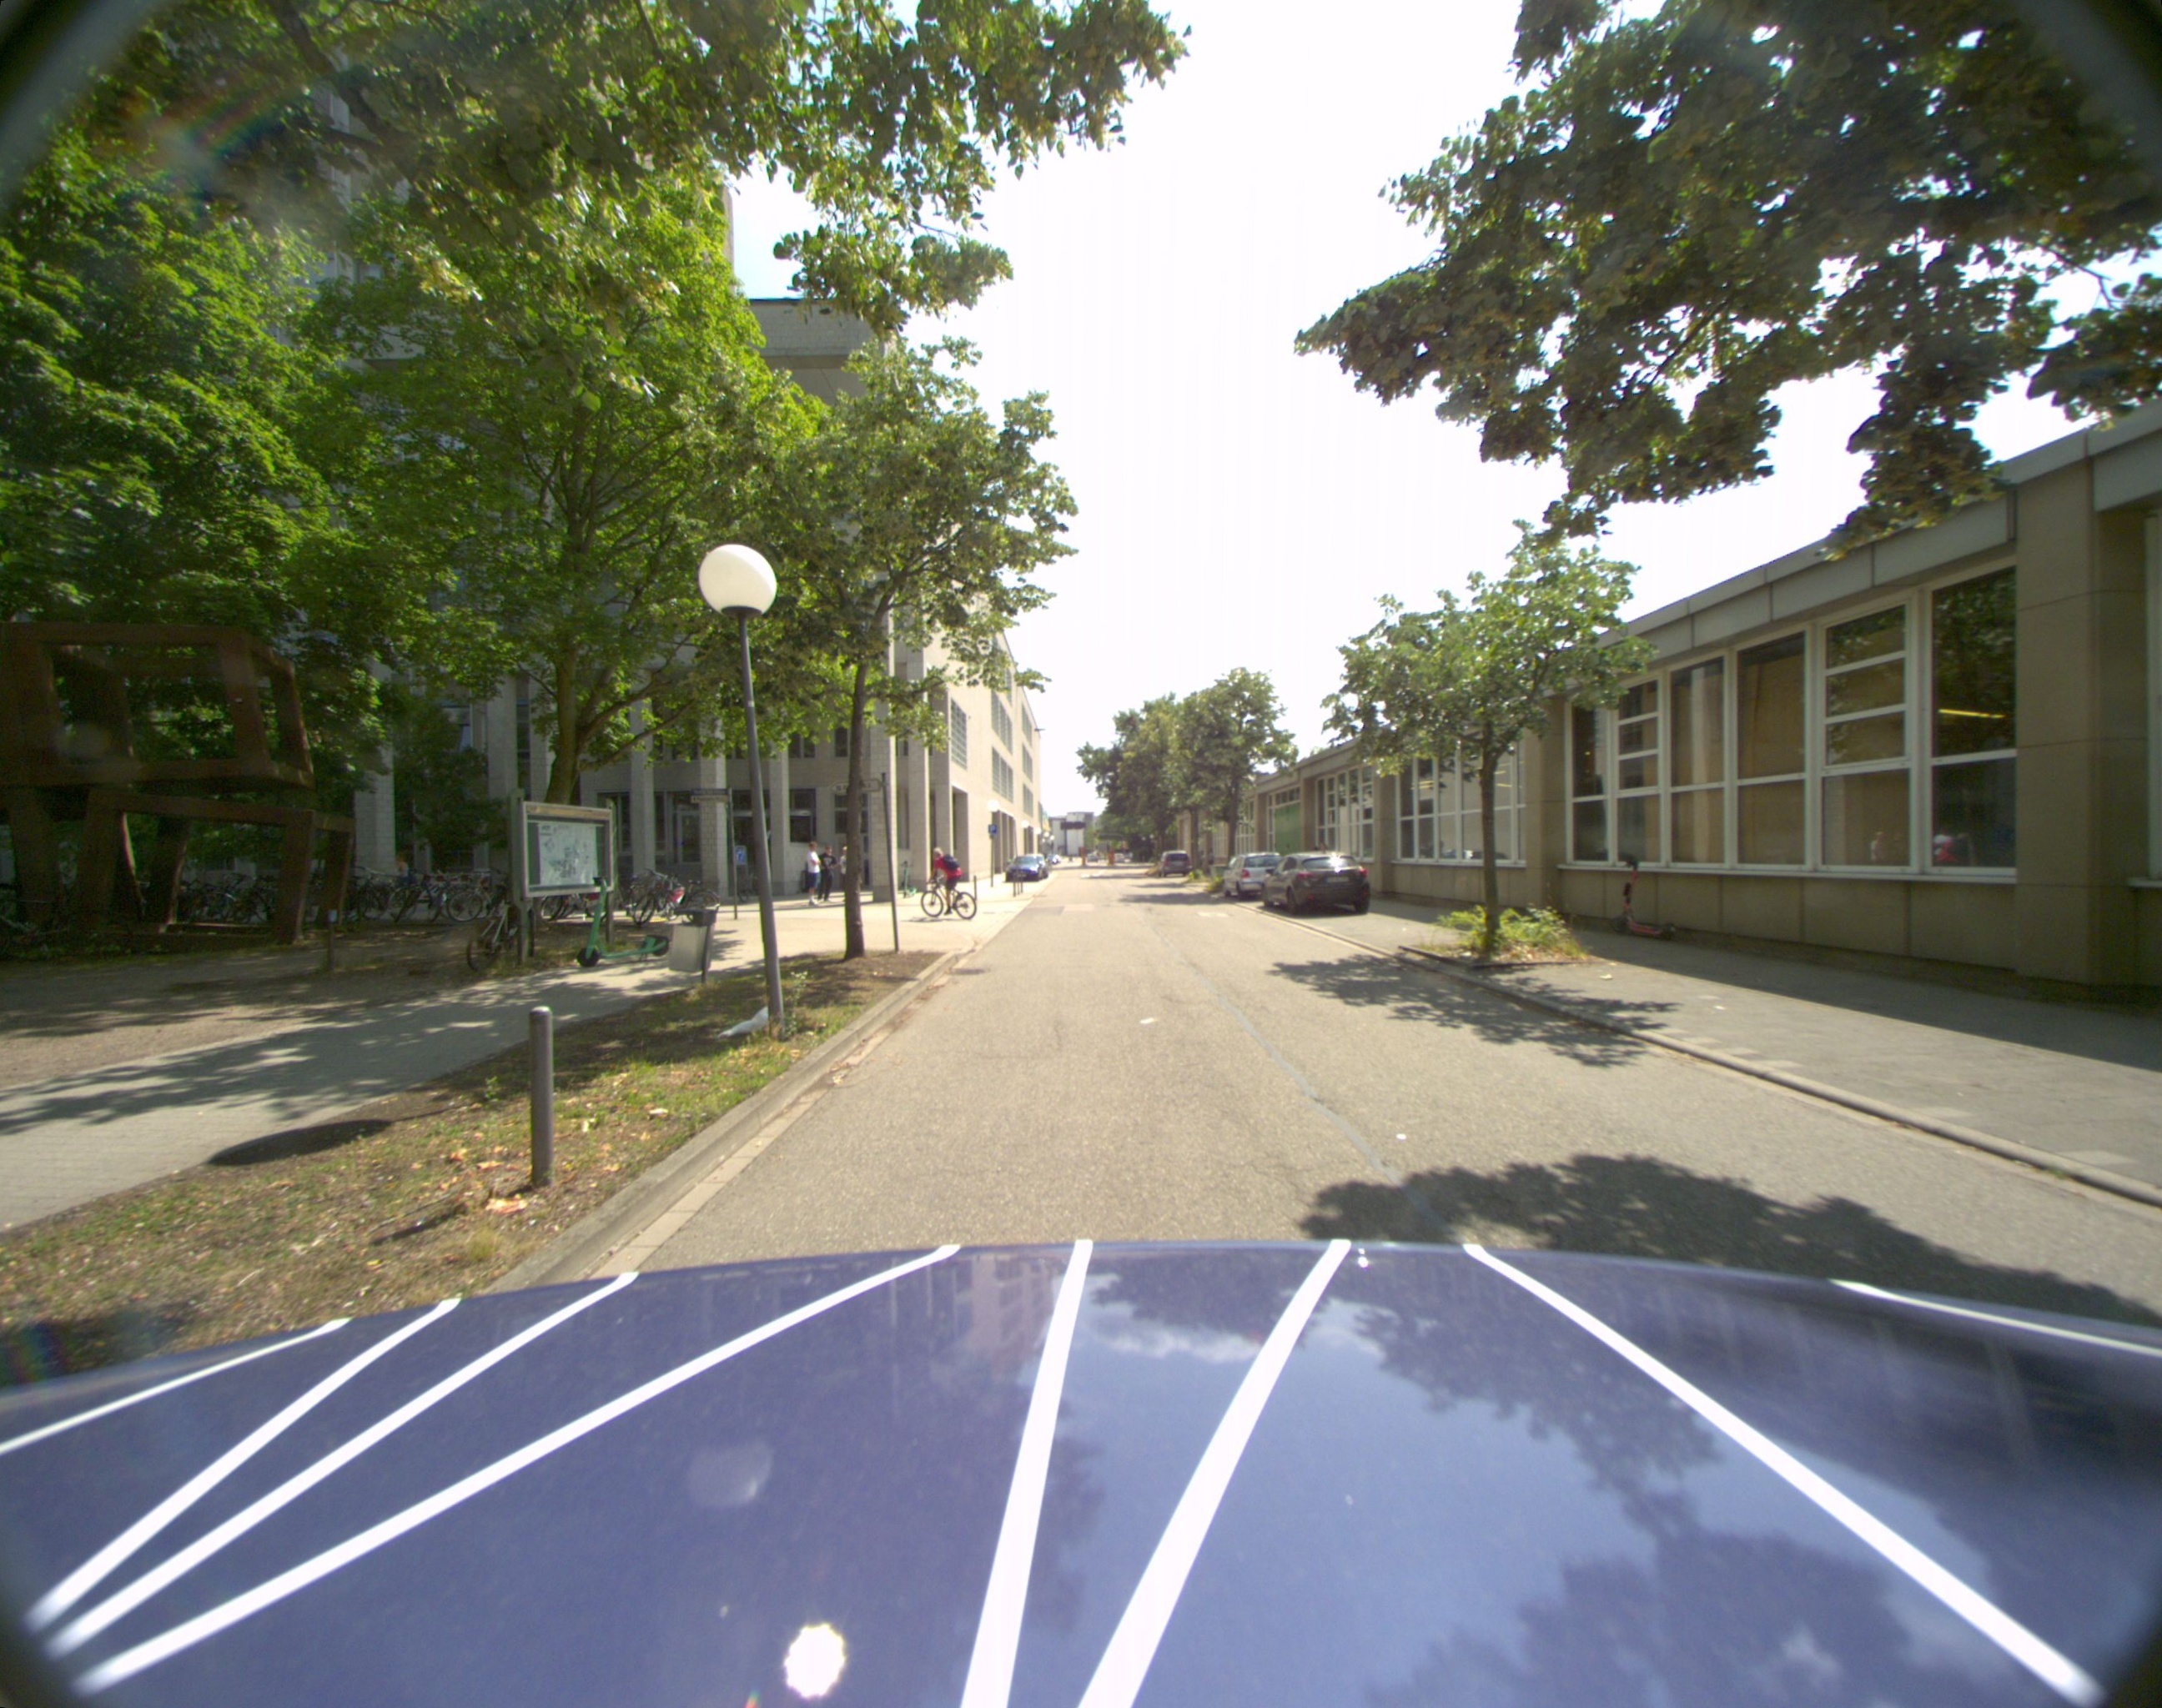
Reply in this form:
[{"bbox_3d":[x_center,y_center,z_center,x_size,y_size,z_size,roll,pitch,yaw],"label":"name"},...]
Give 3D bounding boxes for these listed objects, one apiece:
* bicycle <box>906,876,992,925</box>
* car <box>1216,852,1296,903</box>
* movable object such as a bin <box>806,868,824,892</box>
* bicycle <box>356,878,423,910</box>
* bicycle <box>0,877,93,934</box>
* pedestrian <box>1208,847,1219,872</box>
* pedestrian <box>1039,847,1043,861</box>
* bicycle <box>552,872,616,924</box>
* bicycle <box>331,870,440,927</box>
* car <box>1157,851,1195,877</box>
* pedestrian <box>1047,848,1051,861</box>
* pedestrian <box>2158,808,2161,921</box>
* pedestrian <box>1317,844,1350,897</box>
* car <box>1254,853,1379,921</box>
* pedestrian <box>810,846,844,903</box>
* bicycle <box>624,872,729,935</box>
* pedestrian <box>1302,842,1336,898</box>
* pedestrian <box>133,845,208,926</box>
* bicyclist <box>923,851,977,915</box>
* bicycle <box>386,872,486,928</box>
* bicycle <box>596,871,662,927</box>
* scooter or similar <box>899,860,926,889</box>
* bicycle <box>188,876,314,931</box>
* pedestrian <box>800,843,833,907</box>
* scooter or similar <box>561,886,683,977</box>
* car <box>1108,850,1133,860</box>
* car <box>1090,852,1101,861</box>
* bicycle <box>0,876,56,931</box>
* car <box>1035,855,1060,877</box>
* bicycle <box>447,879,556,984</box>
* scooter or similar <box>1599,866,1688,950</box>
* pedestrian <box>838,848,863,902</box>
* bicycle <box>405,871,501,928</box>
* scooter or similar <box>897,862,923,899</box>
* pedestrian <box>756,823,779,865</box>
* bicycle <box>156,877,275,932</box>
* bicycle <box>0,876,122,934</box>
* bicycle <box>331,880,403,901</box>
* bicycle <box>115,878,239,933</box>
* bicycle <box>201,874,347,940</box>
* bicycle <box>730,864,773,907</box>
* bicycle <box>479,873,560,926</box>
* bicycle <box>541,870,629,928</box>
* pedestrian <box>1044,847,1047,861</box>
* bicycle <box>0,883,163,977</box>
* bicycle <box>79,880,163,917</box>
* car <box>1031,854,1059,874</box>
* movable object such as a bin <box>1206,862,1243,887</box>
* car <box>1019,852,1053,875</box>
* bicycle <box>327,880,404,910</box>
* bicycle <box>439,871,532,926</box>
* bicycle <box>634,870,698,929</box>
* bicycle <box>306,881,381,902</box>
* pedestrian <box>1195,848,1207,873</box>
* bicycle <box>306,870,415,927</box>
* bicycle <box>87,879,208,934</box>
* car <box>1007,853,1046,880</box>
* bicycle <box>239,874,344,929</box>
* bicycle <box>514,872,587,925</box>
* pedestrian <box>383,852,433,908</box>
[{"bbox_3d":[-3.236,1.129,18.690,1.926,1.036,0.819,1,5,25],"label":"bicycle"},{"bbox_3d":[5.607,0.702,24.765,1.634,1.441,3.752,-3,0,0],"label":"car"},{"bbox_3d":[-10.991,1.076,31.421,0.513,0.944,0.512,2,0,-1],"label":"movable object such as a bin"},{"bbox_3d":[-22.084,1.264,24.306,0.337,0.894,1.777,-2,1,6],"label":"bicycle"},{"bbox_3d":[-22.157,1.075,16.040,0.454,1.123,1.688,-3,0,-4],"label":"bicycle"},{"bbox_3d":[8.470,0.376,48.616,0.605,1.571,0.551,1,0,-2],"label":"pedestrian"},{"bbox_3d":[-4.983,-0.001,94.037,0.441,1.620,0.570,2,0,1],"label":"pedestrian"},{"bbox_3d":[-10.817,0.933,16.590,0.460,1.079,1.440,1,-1,-2],"label":"bicycle"},{"bbox_3d":[-14.579,0.911,15.992,0.627,1.118,1.697,1,-1,6],"label":"bicycle"},{"bbox_3d":[5.796,0.576,46.885,1.803,1.441,3.676,-3,0,0],"label":"car"},{"bbox_3d":[-3.956,0.024,94.005,0.383,1.620,0.519,2,0,1],"label":"pedestrian"},{"bbox_3d":[8.108,0.543,5.068,0.670,1.776,0.790,-2,0,0],"label":"pedestrian"},{"bbox_3d":[7.535,0.489,22.674,0.796,1.533,0.664,-1,1,5],"label":"pedestrian"},{"bbox_3d":[5.742,0.757,19.097,1.729,1.427,4.289,-3,0,0],"label":"car"},{"bbox_3d":[-8.124,0.639,24.284,0.811,1.787,0.618,-2,2,-43],"label":"pedestrian"},{"bbox_3d":[-8.074,0.959,15.252,0.604,1.135,1.790,2,1,33],"label":"bicycle"},{"bbox_3d":[7.413,0.489,23.640,0.798,1.718,0.600,-1,1,-17],"label":"pedestrian"},{"bbox_3d":[-19.732,0.673,16.485,0.428,1.693,0.944,-2,0,-4],"label":"pedestrian"},{"bbox_3d":[-3.211,0.705,18.693,0.957,1.534,0.840,1,-1,26],"label":"bicyclist"},{"bbox_3d":[-13.739,0.944,16.247,0.565,1.118,1.697,1,-1,6],"label":"bicycle"},{"bbox_3d":[-9.641,0.934,16.262,0.561,1.134,1.490,1,-1,-2],"label":"bicycle"},{"bbox_3d":[-7.538,0.900,33.970,0.566,1.205,1.506,-3,3,-40],"label":"scooter or similar"},{"bbox_3d":[-17.442,1.014,16.032,0.617,1.041,1.697,-3,-1,8],"label":"bicycle"},{"bbox_3d":[-8.040,0.628,23.128,0.687,1.880,0.686,-2,2,-2],"label":"pedestrian"},{"bbox_3d":[-6.145,1.003,10.241,0.496,1.107,1.365,0,-1,25],"label":"scooter or similar"},{"bbox_3d":[6.111,0.155,116.827,3.674,1.441,1.804,-3,1,-1],"label":"car"},{"bbox_3d":[2.590,0.510,136.407,1.803,1.441,3.676,-3,0,0],"label":"car"},{"bbox_3d":[-22.727,1.053,15.851,0.454,1.123,1.688,-3,0,-4],"label":"bicycle"},{"bbox_3d":[-2.743,0.993,62.854,1.799,1.691,4.000,2,0,1],"label":"car"},{"bbox_3d":[-7.315,0.927,9.670,0.629,1.078,1.684,-3,4,-22],"label":"bicycle"},{"bbox_3d":[8.595,0.792,11.659,0.383,1.200,1.246,-3,0,-1],"label":"scooter or similar"},{"bbox_3d":[-7.379,0.671,24.350,0.613,1.719,0.542,-1,1,2],"label":"pedestrian"},{"bbox_3d":[-13.235,0.934,16.084,0.481,1.118,1.697,1,-1,6],"label":"bicycle"},{"bbox_3d":[-5.890,0.903,26.216,0.564,1.205,1.510,2,1,-1],"label":"scooter or similar"},{"bbox_3d":[-13.184,-0.424,31.938,0.690,1.724,0.685,-1,1,-7],"label":"pedestrian"},{"bbox_3d":[-18.179,1.026,16.022,0.617,1.041,1.688,-3,-1,-4],"label":"bicycle"},{"bbox_3d":[-21.574,1.044,16.089,0.454,1.123,1.688,-3,0,-4],"label":"bicycle"},{"bbox_3d":[-27.414,1.392,29.206,1.990,0.755,0.643,0,-1,-9],"label":"bicycle"},{"bbox_3d":[-18.897,1.050,15.945,0.617,1.041,1.688,-3,-1,-4],"label":"bicycle"},{"bbox_3d":[-14.260,0.899,13.506,0.463,1.071,1.829,1,-1,8],"label":"bicycle"},{"bbox_3d":[-10.423,0.970,24.103,0.531,1.235,1.829,0,1,0],"label":"bicycle"},{"bbox_3d":[-12.054,0.959,16.353,0.481,1.079,1.516,1,-1,6],"label":"bicycle"},{"bbox_3d":[-10.381,0.918,15.964,0.491,1.134,1.529,1,-1,20],"label":"bicycle"},{"bbox_3d":[-4.386,0.009,94.009,0.383,1.620,0.519,2,0,1],"label":"pedestrian"},{"bbox_3d":[-13.560,0.986,9.888,1.928,1.103,0.631,-1,2,-36],"label":"bicycle"},{"bbox_3d":[-29.954,1.386,23.714,1.832,1.097,0.570,-1,-1,-2],"label":"bicycle"},{"bbox_3d":[-2.702,0.756,57.861,1.843,1.390,3.878,1,-1,1],"label":"car"},{"bbox_3d":[6.286,0.887,33.424,1.295,0.979,1.696,-3,0,1],"label":"movable object such as a bin"},{"bbox_3d":[-2.775,0.607,47.982,1.843,1.390,3.878,1,-1,1],"label":"car"},{"bbox_3d":[-22.918,1.303,24.390,0.447,0.894,1.779,-1,0,19],"label":"bicycle"},{"bbox_3d":[-12.548,0.910,16.070,0.481,1.079,1.697,1,-1,6],"label":"bicycle"},{"bbox_3d":[-8.716,0.927,16.005,0.561,1.135,1.489,1,1,-2],"label":"bicycle"},{"bbox_3d":[-27.396,1.379,28.245,1.990,0.755,0.643,0,-1,-9],"label":"bicycle"},{"bbox_3d":[7.685,0.422,48.634,0.604,1.571,0.552,1,0,31],"label":"pedestrian"},{"bbox_3d":[-15.288,0.913,16.183,0.627,1.143,1.697,1,-1,2],"label":"bicycle"},{"bbox_3d":[-19.478,1.063,15.906,0.501,1.041,1.688,-3,-1,-4],"label":"bicycle"},{"bbox_3d":[-2.994,0.694,42.516,1.843,1.390,3.878,1,-1,1],"label":"car"},{"bbox_3d":[-16.631,0.974,16.066,0.568,1.041,1.695,-3,-1,-7],"label":"bicycle"},{"bbox_3d":[-11.293,0.930,16.226,0.460,1.079,1.474,1,-1,2],"label":"bicycle"},{"bbox_3d":[-21.490,0.816,24.281,0.938,1.730,0.748,-2,1,-19],"label":"pedestrian"}]
